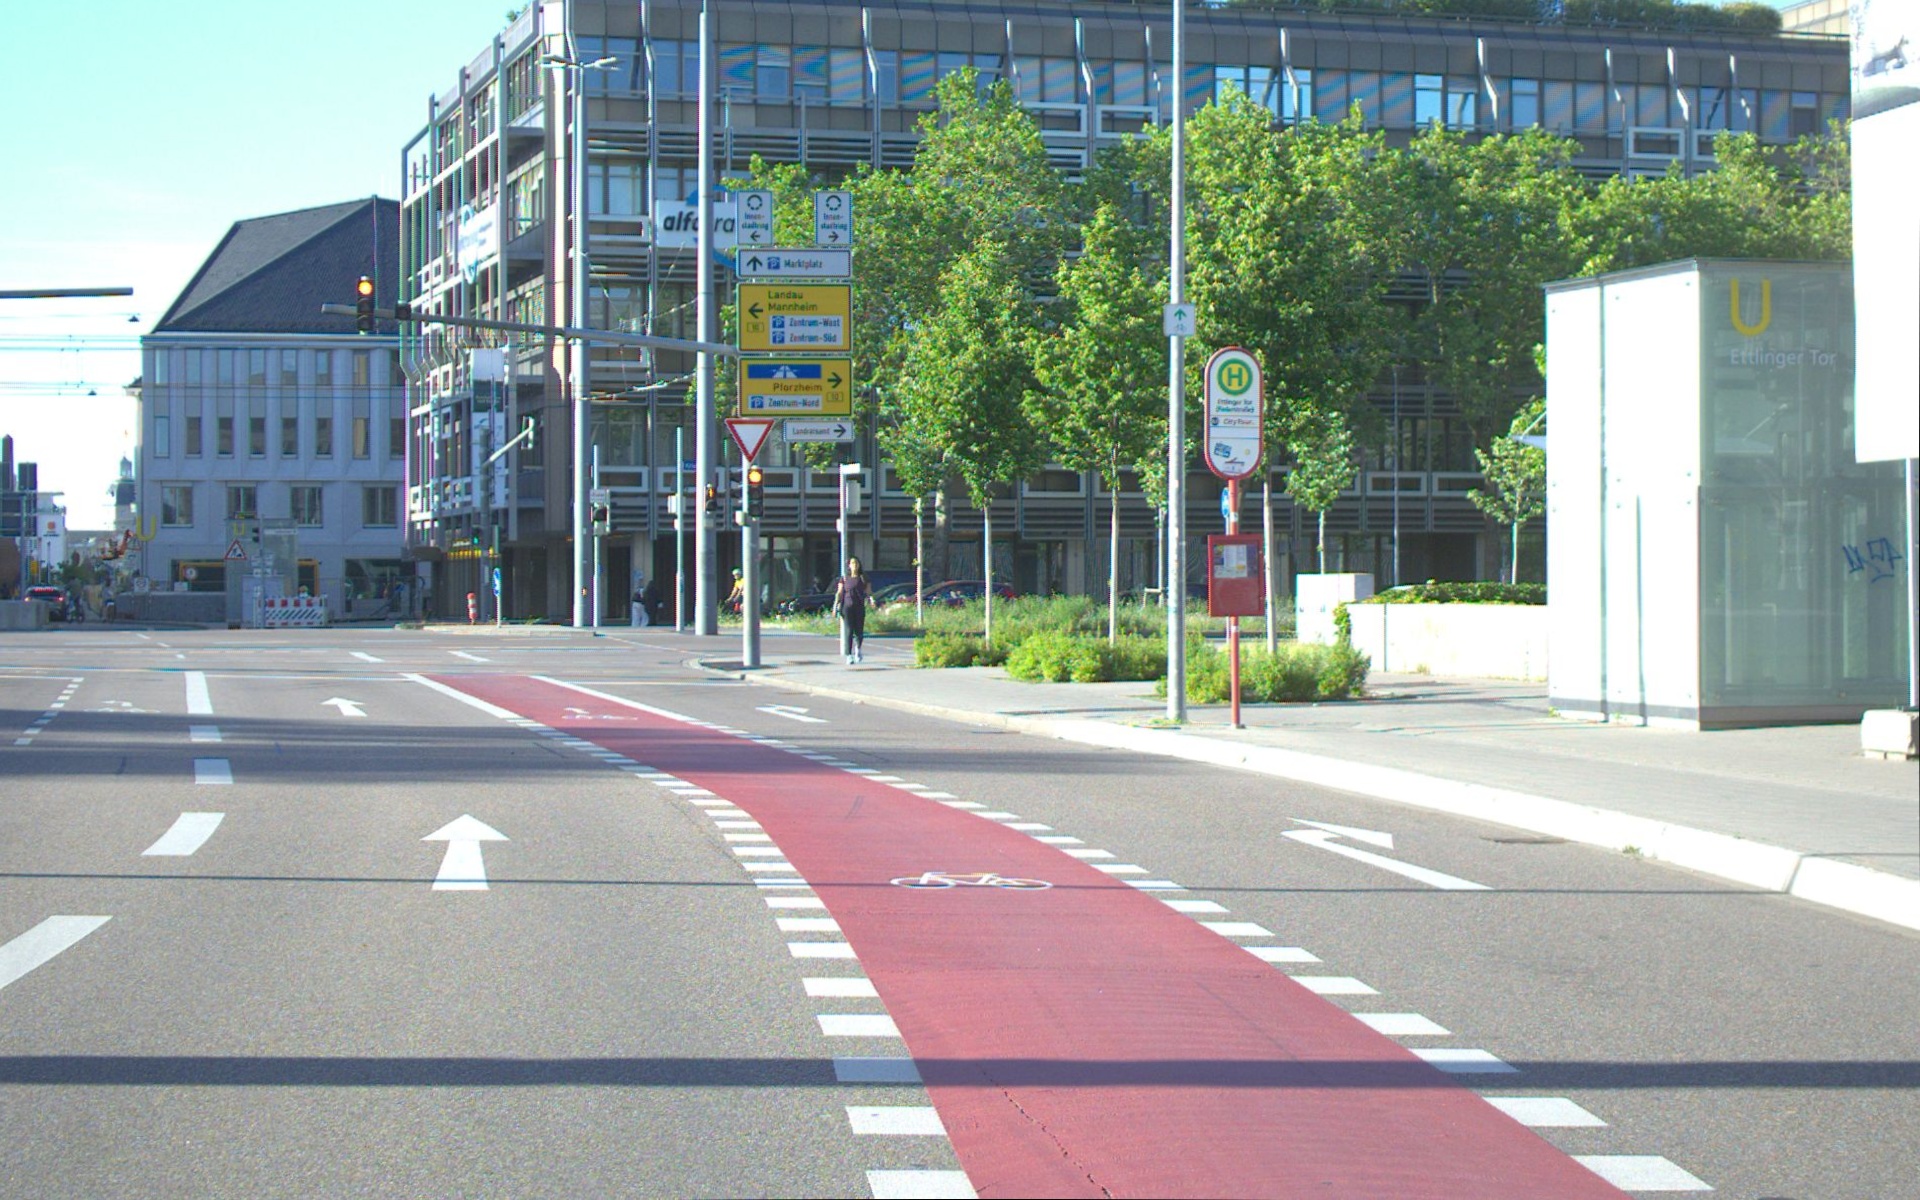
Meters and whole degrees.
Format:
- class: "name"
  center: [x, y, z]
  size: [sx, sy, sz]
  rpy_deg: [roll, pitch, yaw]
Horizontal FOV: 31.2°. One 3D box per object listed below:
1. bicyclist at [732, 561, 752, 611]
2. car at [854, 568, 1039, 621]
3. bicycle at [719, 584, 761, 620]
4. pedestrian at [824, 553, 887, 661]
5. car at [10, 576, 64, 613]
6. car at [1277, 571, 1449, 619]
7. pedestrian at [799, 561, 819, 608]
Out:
- class: "bicyclist"
  center: [-5.895, -0.384, 92.953]
  size: [0.508, 1.334, 0.453]
  rpy_deg: [0, 0, -10]
- class: "car"
  center: [-0.384, -0.160, 93.130]
  size: [4.629, 1.351, 2.001]
  rpy_deg: [0, 2, -16]
- class: "bicycle"
  center: [-5.947, 0.051, 92.942]
  size: [1.076, 0.967, 0.458]
  rpy_deg: [0, 0, -10]
- class: "pedestrian"
  center: [-1.712, 0.113, 56.602]
  size: [0.822, 1.742, 1.041]
  rpy_deg: [-1, 0, 9]
- class: "car"
  center: [-39.879, -0.265, 148.548]
  size: [1.993, 1.547, 4.001]
  rpy_deg: [0, 1, -19]
- class: "car"
  center: [11.871, -0.143, 101.348]
  size: [4.629, 1.351, 2.001]
  rpy_deg: [0, 2, -16]
- class: "pedestrian"
  center: [-4.919, -0.508, 111.946]
  size: [0.622, 1.513, 0.653]
  rpy_deg: [0, 0, -4]
